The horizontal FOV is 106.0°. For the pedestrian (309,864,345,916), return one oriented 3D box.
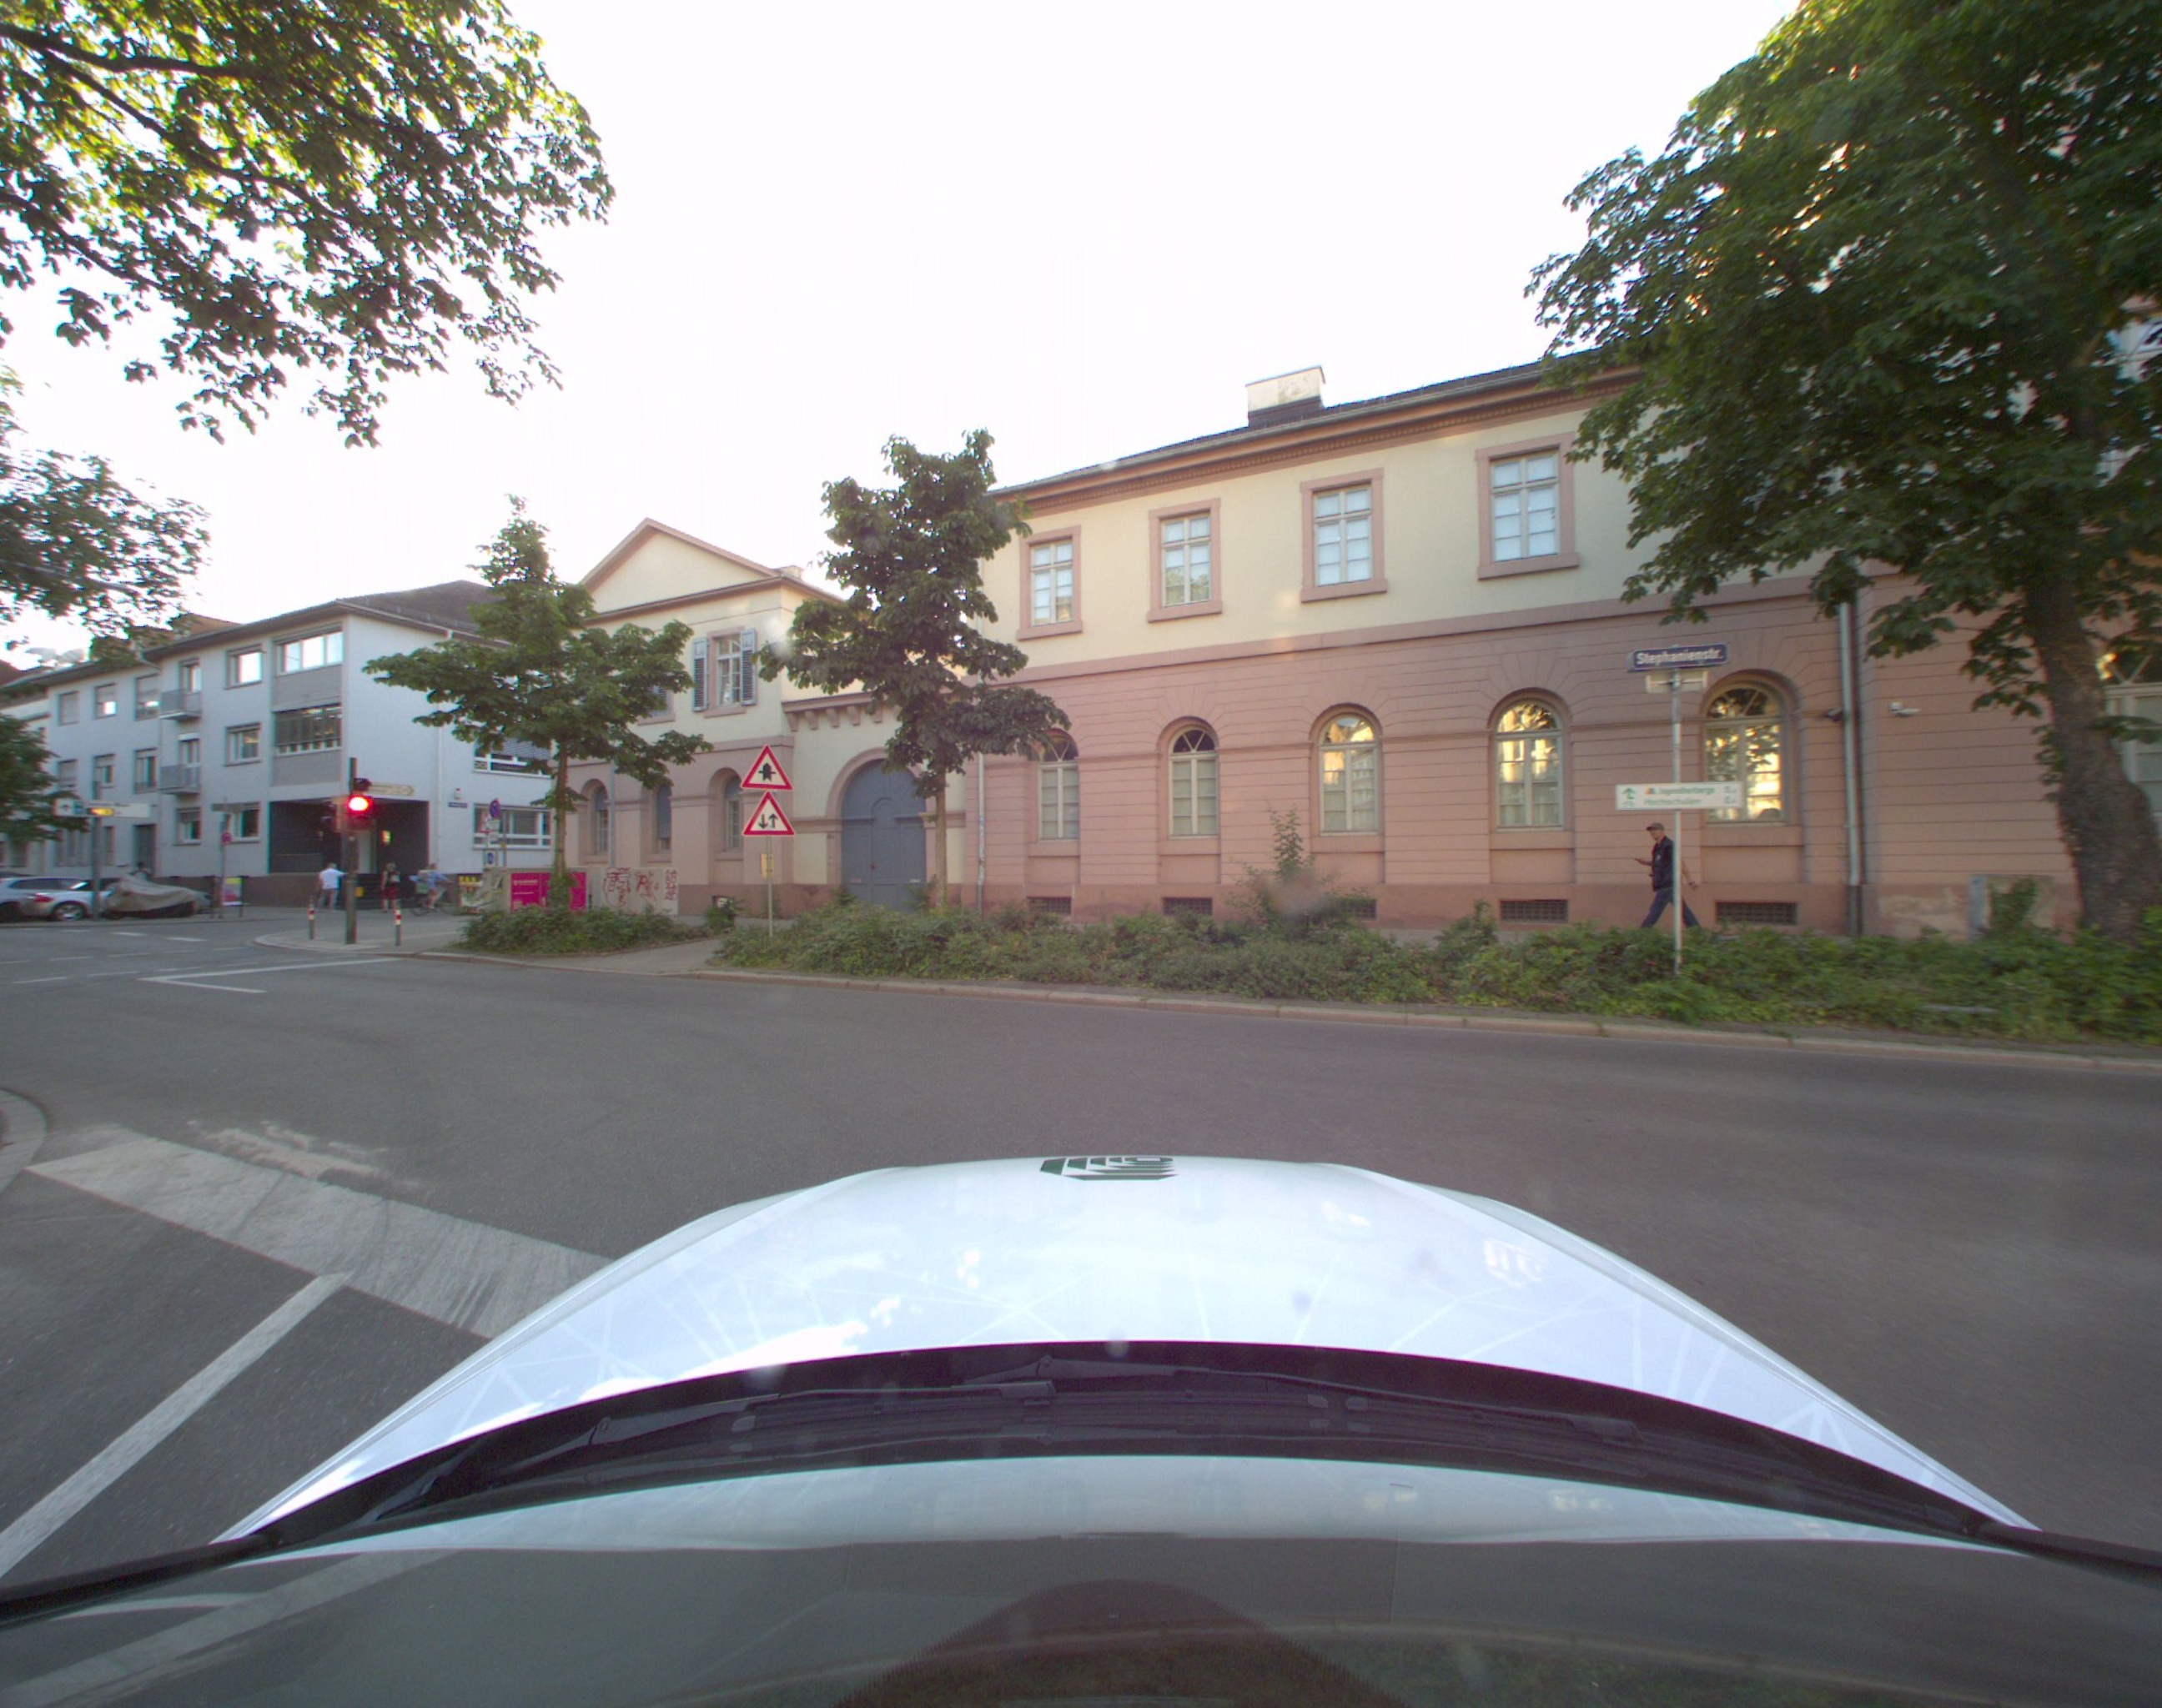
[{"bbox_3d":[-25.786,1.212,27.852,0.690,1.752,0.710,-1,-2,29],"label":"pedestrian"}]

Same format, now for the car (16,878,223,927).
[{"bbox_3d":[-31.209,1.530,26.595,1.686,1.342,4.051,-1,0,25],"label":"car"}]

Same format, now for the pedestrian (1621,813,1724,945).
[{"bbox_3d":[8.620,0.361,11.919,1.069,1.839,0.806,-1,-1,27],"label":"pedestrian"}]

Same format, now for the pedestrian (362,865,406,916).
[{"bbox_3d":[-24.361,1.250,28.472,0.761,1.752,0.939,-1,-2,30],"label":"pedestrian"}]

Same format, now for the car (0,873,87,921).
[{"bbox_3d":[-39.699,1.581,29.701,1.686,1.690,4.051,-1,-1,25],"label":"car"}]

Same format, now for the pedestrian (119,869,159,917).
[{"bbox_3d":[-36.358,1.493,31.437,0.932,1.841,0.774,-1,-2,25],"label":"pedestrian"}]

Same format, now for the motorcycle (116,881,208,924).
[{"bbox_3d":[-28.368,1.476,25.168,0.605,1.199,1.817,-1,-1,34],"label":"motorcycle"}]

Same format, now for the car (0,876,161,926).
[{"bbox_3d":[-33.879,1.525,27.074,1.686,1.442,4.051,-1,0,25],"label":"car"}]
